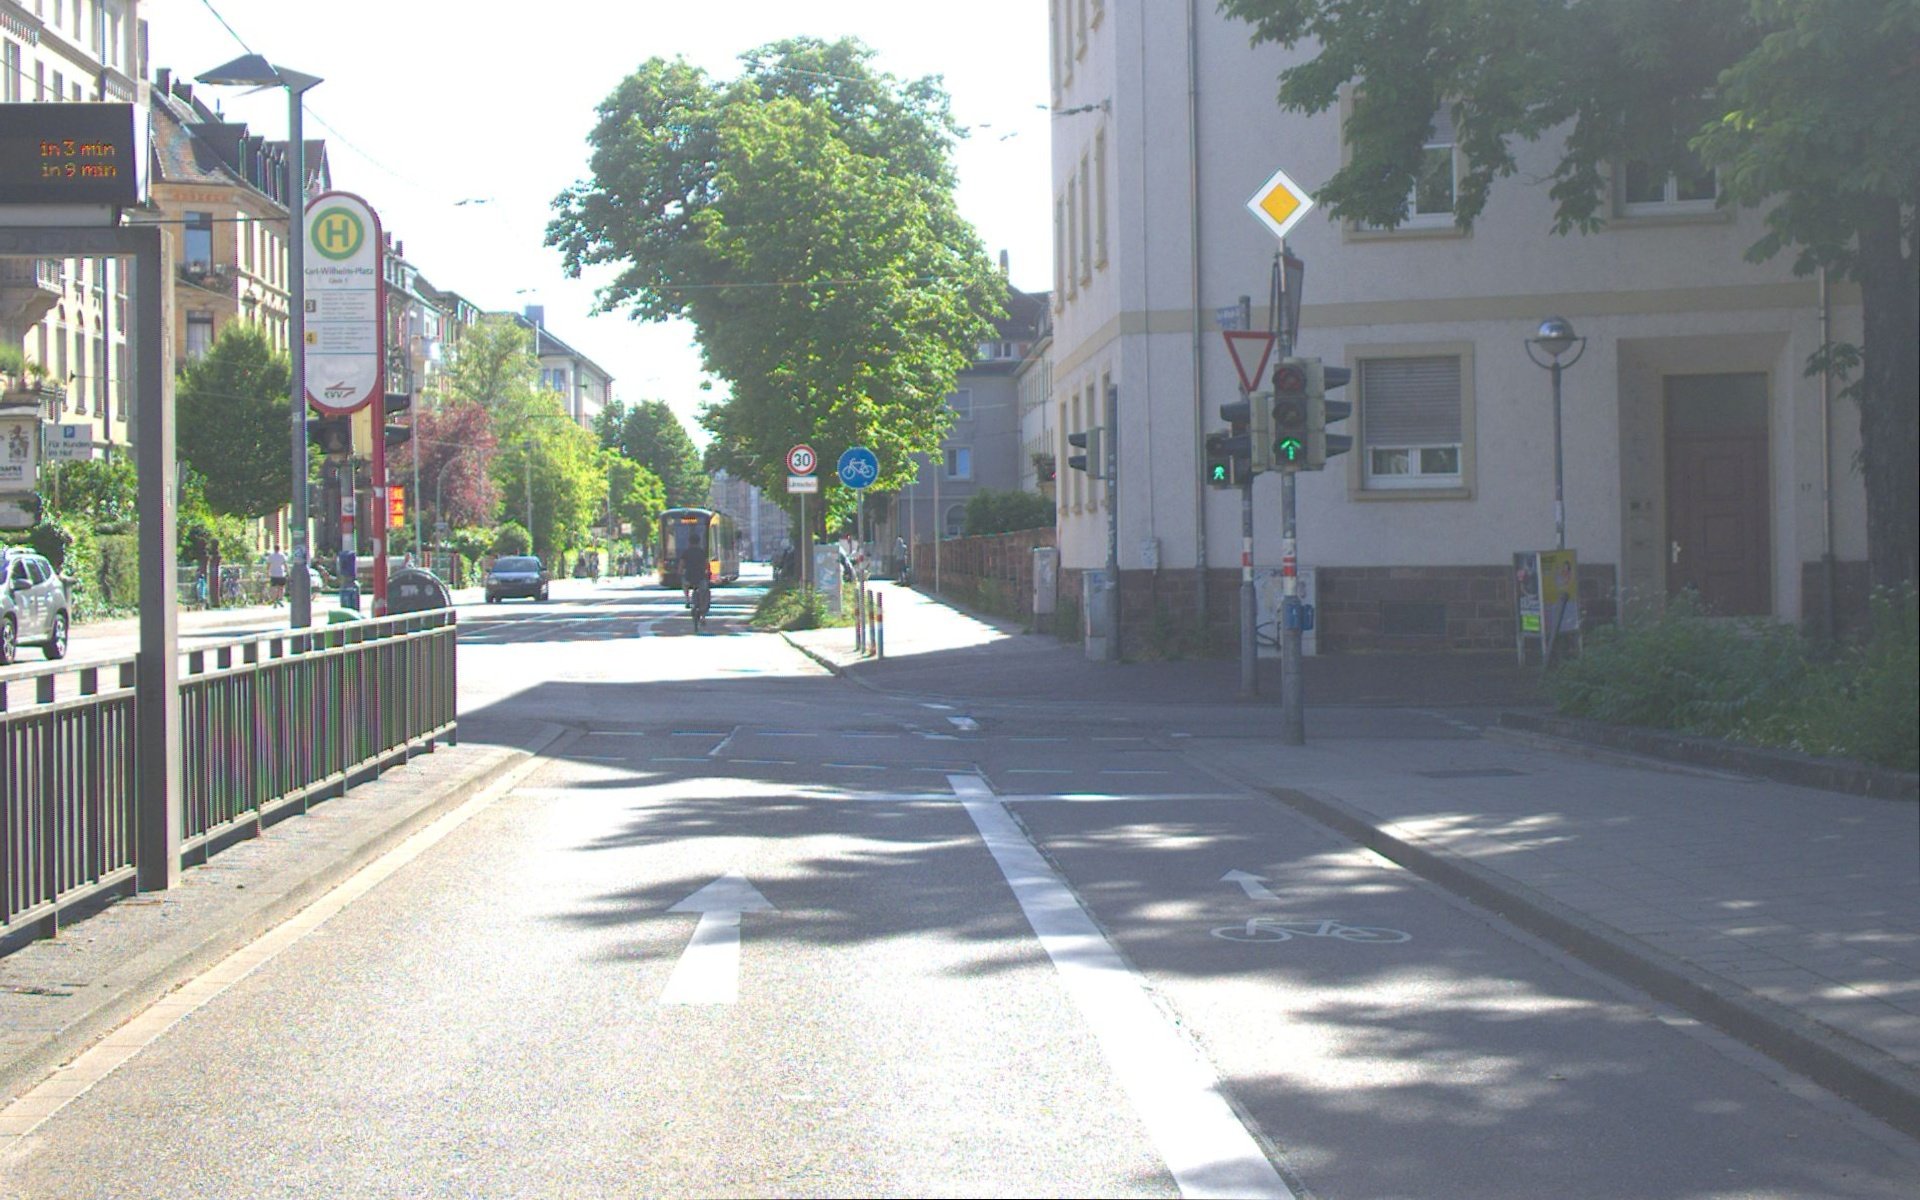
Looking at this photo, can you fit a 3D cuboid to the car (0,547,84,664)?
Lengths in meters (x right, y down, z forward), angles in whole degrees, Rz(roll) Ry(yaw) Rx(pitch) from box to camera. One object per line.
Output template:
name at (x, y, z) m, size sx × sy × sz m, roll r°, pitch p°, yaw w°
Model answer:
car at (-13.927, 0.058, 49.576) m, size 1.775 × 1.612 × 4.000 m, roll 0°, pitch 0°, yaw -3°

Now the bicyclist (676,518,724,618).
bicyclist at (-4.777, -0.587, 63.268) m, size 0.817 × 1.805 × 1.059 m, roll 0°, pitch 0°, yaw -2°

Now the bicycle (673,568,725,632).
bicycle at (-4.806, -0.011, 63.354) m, size 0.842 × 1.152 × 2.539 m, roll 0°, pitch 0°, yaw -2°

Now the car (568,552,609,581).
car at (-20.714, -1.853, 192.020) m, size 1.993 × 1.590 × 4.000 m, roll 0°, pitch 0°, yaw -2°

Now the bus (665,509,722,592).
bus at (-11.579, -2.116, 149.383) m, size 2.385 × 3.484 × 7.385 m, roll 0°, pitch 0°, yaw -4°

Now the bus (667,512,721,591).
bus at (-12.099, -2.181, 156.759) m, size 2.385 × 3.484 × 7.385 m, roll 0°, pitch 0°, yaw -4°

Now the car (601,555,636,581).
car at (-21.507, -2.014, 216.607) m, size 1.993 × 1.590 × 4.000 m, roll 0°, pitch 0°, yaw -2°

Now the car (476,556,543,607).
car at (-14.454, -0.610, 110.493) m, size 1.993 × 1.590 × 4.001 m, roll 0°, pitch 0°, yaw -5°
